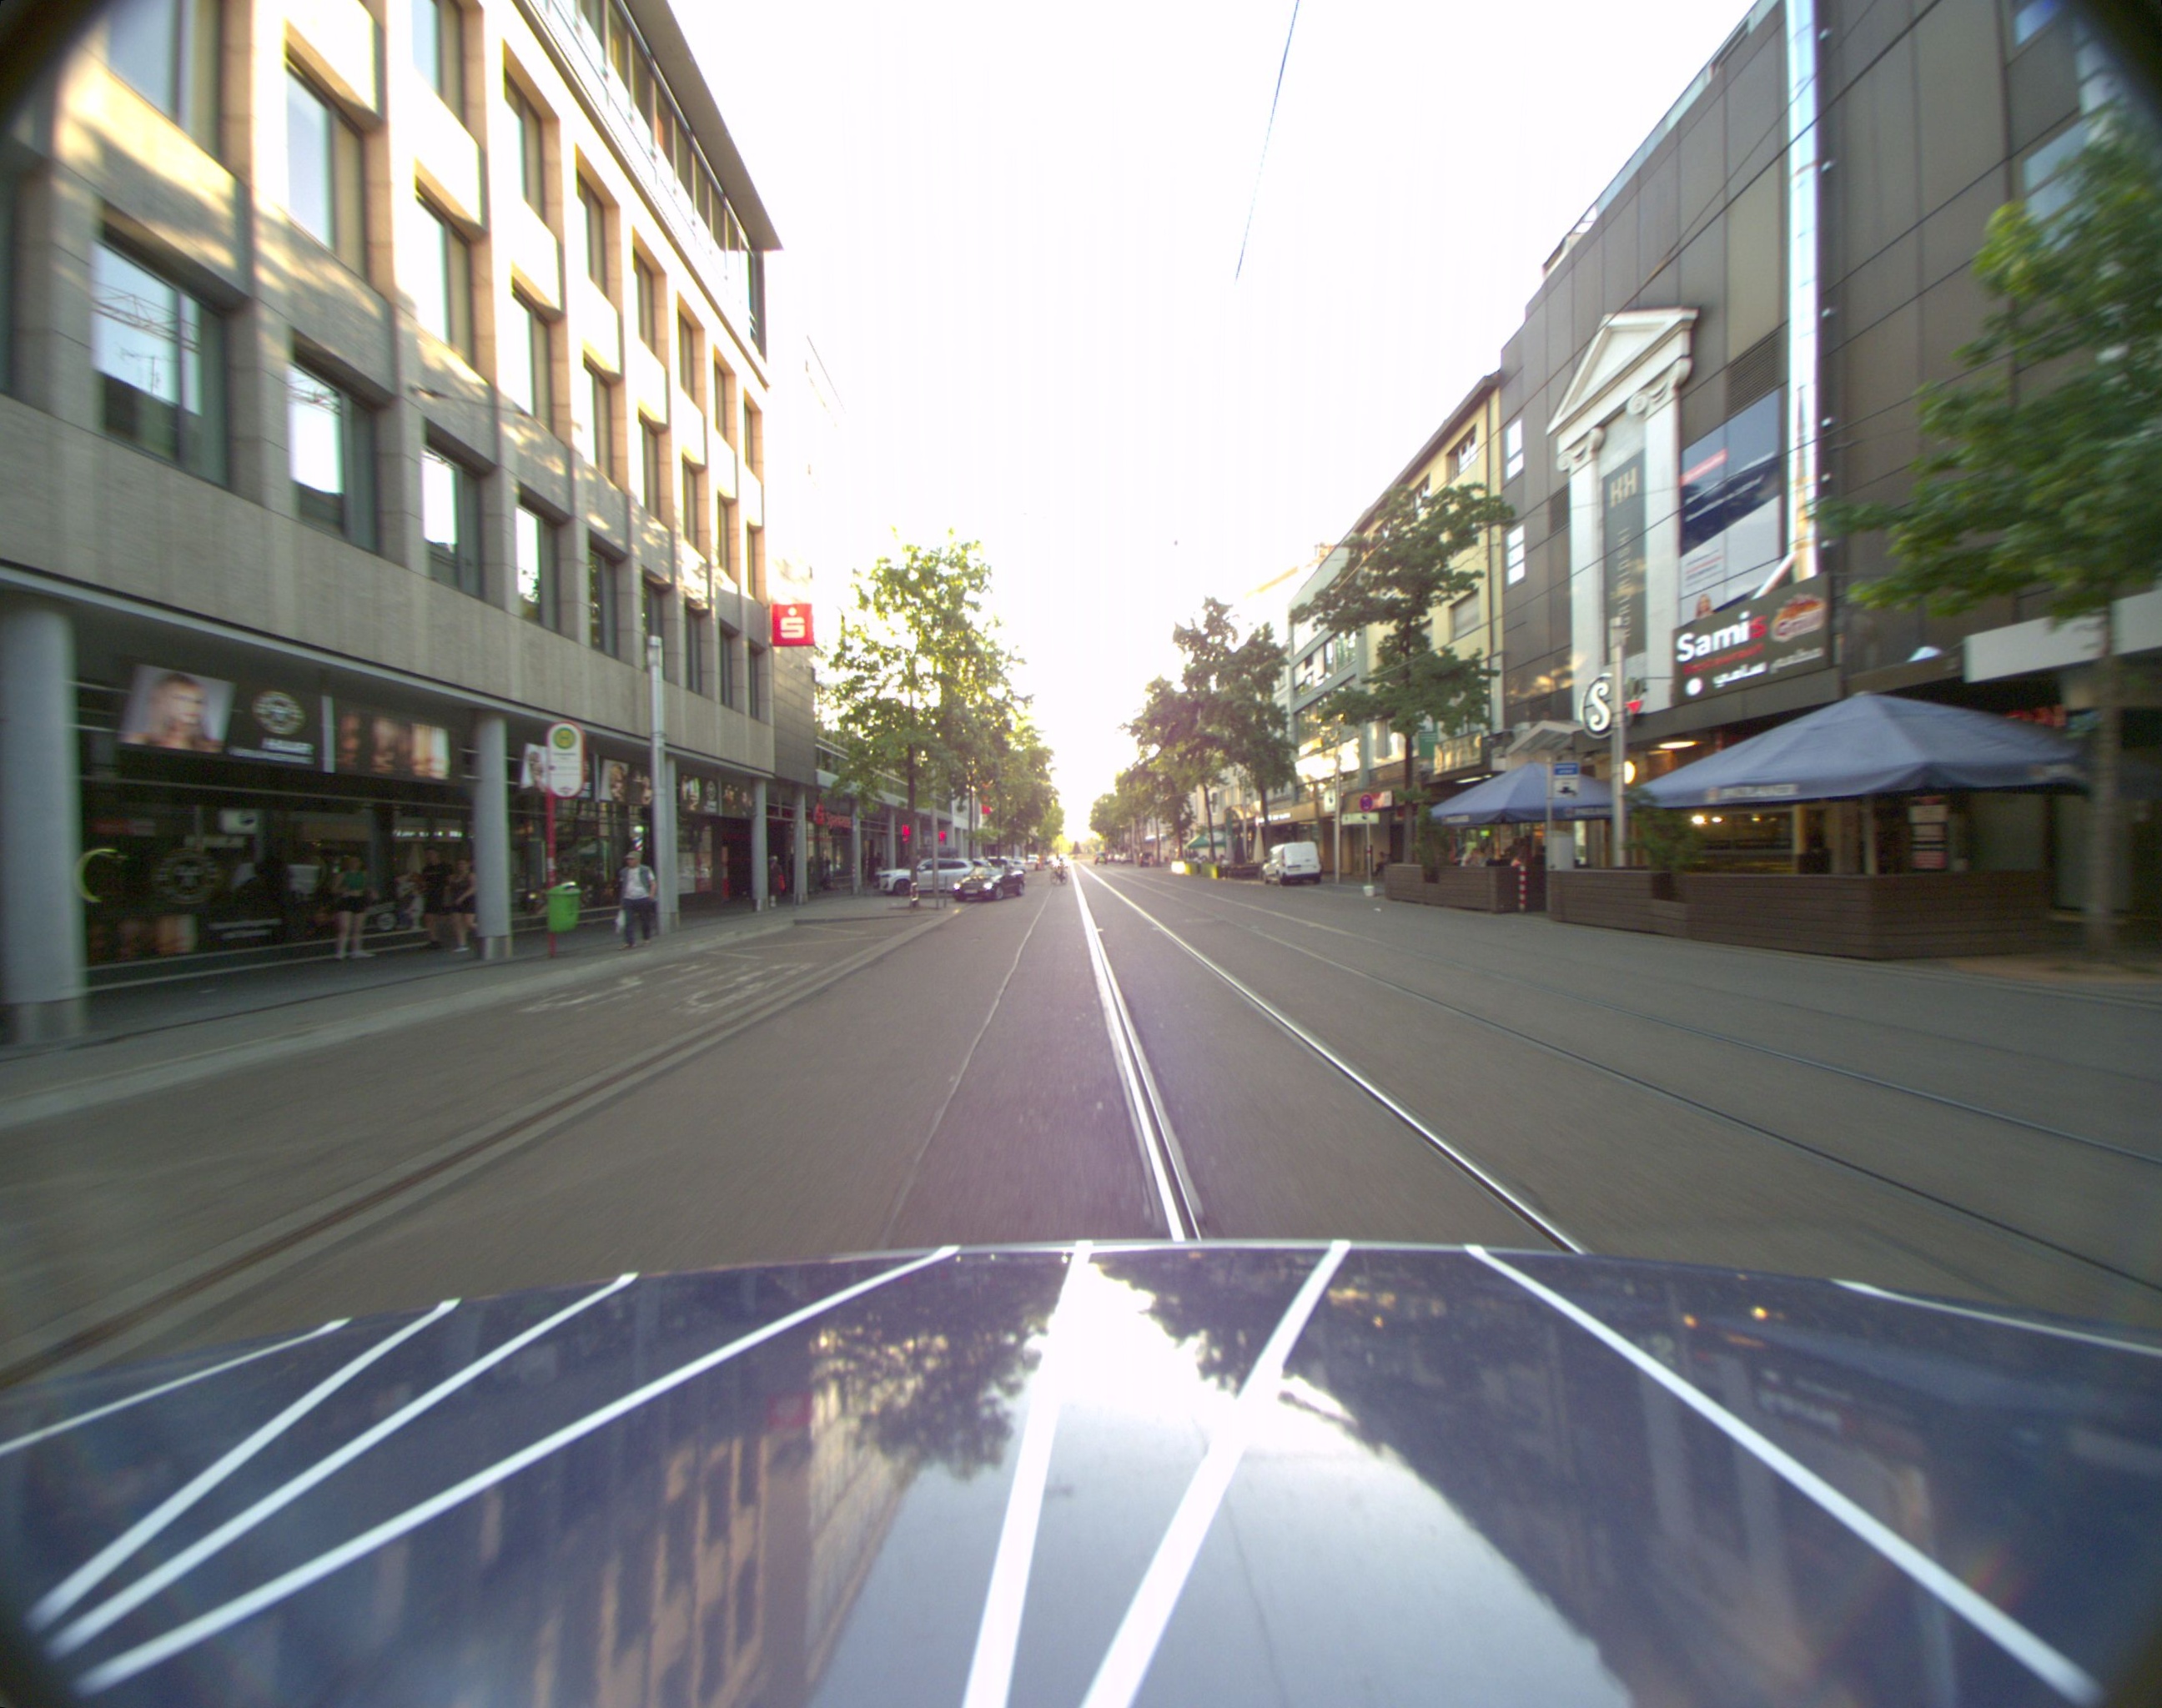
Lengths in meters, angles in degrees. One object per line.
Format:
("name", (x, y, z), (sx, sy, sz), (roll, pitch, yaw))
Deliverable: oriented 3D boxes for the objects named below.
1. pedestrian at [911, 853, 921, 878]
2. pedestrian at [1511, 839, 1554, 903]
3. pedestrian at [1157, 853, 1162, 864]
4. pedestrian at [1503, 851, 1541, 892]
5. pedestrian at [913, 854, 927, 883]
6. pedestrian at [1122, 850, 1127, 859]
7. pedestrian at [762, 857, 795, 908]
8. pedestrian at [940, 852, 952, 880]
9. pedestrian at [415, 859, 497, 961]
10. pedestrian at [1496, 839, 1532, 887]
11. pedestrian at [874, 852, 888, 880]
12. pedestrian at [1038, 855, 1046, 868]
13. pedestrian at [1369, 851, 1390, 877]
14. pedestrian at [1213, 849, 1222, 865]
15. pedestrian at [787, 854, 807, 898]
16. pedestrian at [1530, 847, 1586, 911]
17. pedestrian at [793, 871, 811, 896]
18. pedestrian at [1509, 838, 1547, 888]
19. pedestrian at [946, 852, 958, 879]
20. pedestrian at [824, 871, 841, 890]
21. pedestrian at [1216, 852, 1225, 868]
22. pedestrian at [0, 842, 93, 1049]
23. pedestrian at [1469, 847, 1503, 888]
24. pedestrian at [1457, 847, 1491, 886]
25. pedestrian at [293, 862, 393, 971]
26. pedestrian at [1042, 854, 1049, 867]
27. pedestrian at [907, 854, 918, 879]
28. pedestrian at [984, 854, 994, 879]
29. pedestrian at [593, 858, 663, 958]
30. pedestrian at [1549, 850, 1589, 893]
("pedestrian", (-11.581, 0.802, 53.419), (0.558, 1.681, 0.628), (-1, 1, 0))
("pedestrian", (11.347, 0.408, 19.117), (0.658, 1.543, 0.565), (-4, 2, -2))
("pedestrian", (10.234, 0.547, 98.873), (0.490, 1.451, 0.543), (-1, 1, -2))
("pedestrian", (12.935, 0.500, 22.305), (0.642, 1.150, 0.665), (-4, 1, -3))
("pedestrian", (-9.425, 0.817, 44.495), (0.618, 1.681, 0.628), (-1, 1, 0))
("pedestrian", (7.249, 0.095, 126.668), (0.650, 1.451, 0.650), (-1, 1, -2))
("pedestrian", (-9.777, 0.911, 24.569), (0.749, 1.634, 0.741), (-1, 1, -1))
("pedestrian", (-8.393, 0.751, 47.320), (0.618, 1.681, 0.628), (-1, 1, 0))
("pedestrian", (-10.465, 0.917, 12.751), (0.682, 1.634, 0.788), (-1, 1, -1))
("pedestrian", (13.539, 0.267, 23.766), (0.662, 1.426, 0.643), (-6, 2, 0))
("pedestrian", (-11.974, 0.722, 45.476), (0.629, 1.681, 0.557), (-1, 1, -33))
("pedestrian", (-4.407, 0.827, 85.569), (0.650, 1.451, 0.649), (-2, 1, -17))
("pedestrian", (13.788, 0.463, 35.090), (0.650, 1.168, 0.650), (-2, 1, -6))
("pedestrian", (12.554, 0.280, 69.780), (0.650, 1.451, 0.650), (-1, 1, -2))
("pedestrian", (-11.681, 0.900, 31.260), (0.558, 1.762, 0.628), (-1, 1, 0))
("pedestrian", (11.030, 0.569, 17.593), (0.766, 1.393, 0.746), (-4, 1, -1))
("pedestrian", (-11.861, 1.244, 32.308), (0.628, 1.030, 0.558), (-1, 1, -9))
("pedestrian", (13.556, 0.273, 23.047), (0.662, 1.426, 0.643), (-6, 2, 0))
("pedestrian", (-8.189, 0.732, 48.299), (0.618, 1.681, 0.628), (-1, 1, 0))
("pedestrian", (-11.864, 1.263, 36.342), (0.627, 0.876, 0.558), (-1, 1, -1))
("pedestrian", (12.453, 0.542, 67.672), (0.650, 1.451, 0.650), (-1, 1, -2))
("pedestrian", (-10.165, 0.829, 7.121), (0.708, 1.878, 0.796), (0, 1, 0))
("pedestrian", (13.010, 0.428, 24.408), (0.642, 1.221, 0.665), (-6, 2, -3))
("pedestrian", (13.085, 0.416, 25.309), (0.642, 1.221, 0.665), (-6, 2, -3))
("pedestrian", (-11.483, 0.946, 11.854), (0.712, 1.634, 0.818), (-1, 1, -1))
("pedestrian", (-4.103, 0.790, 88.175), (0.650, 1.451, 0.649), (-2, 1, -17))
("pedestrian", (-11.431, 0.816, 51.542), (0.558, 1.681, 0.628), (-1, 1, 0))
("pedestrian", (-6.191, 0.833, 51.351), (0.618, 1.681, 0.628), (-1, 1, -5))
("pedestrian", (-7.434, 0.867, 12.501), (0.670, 1.579, 0.638), (-3, 1, -1))
("pedestrian", (13.721, 0.480, 21.380), (0.642, 1.150, 0.665), (-4, 1, -3))
